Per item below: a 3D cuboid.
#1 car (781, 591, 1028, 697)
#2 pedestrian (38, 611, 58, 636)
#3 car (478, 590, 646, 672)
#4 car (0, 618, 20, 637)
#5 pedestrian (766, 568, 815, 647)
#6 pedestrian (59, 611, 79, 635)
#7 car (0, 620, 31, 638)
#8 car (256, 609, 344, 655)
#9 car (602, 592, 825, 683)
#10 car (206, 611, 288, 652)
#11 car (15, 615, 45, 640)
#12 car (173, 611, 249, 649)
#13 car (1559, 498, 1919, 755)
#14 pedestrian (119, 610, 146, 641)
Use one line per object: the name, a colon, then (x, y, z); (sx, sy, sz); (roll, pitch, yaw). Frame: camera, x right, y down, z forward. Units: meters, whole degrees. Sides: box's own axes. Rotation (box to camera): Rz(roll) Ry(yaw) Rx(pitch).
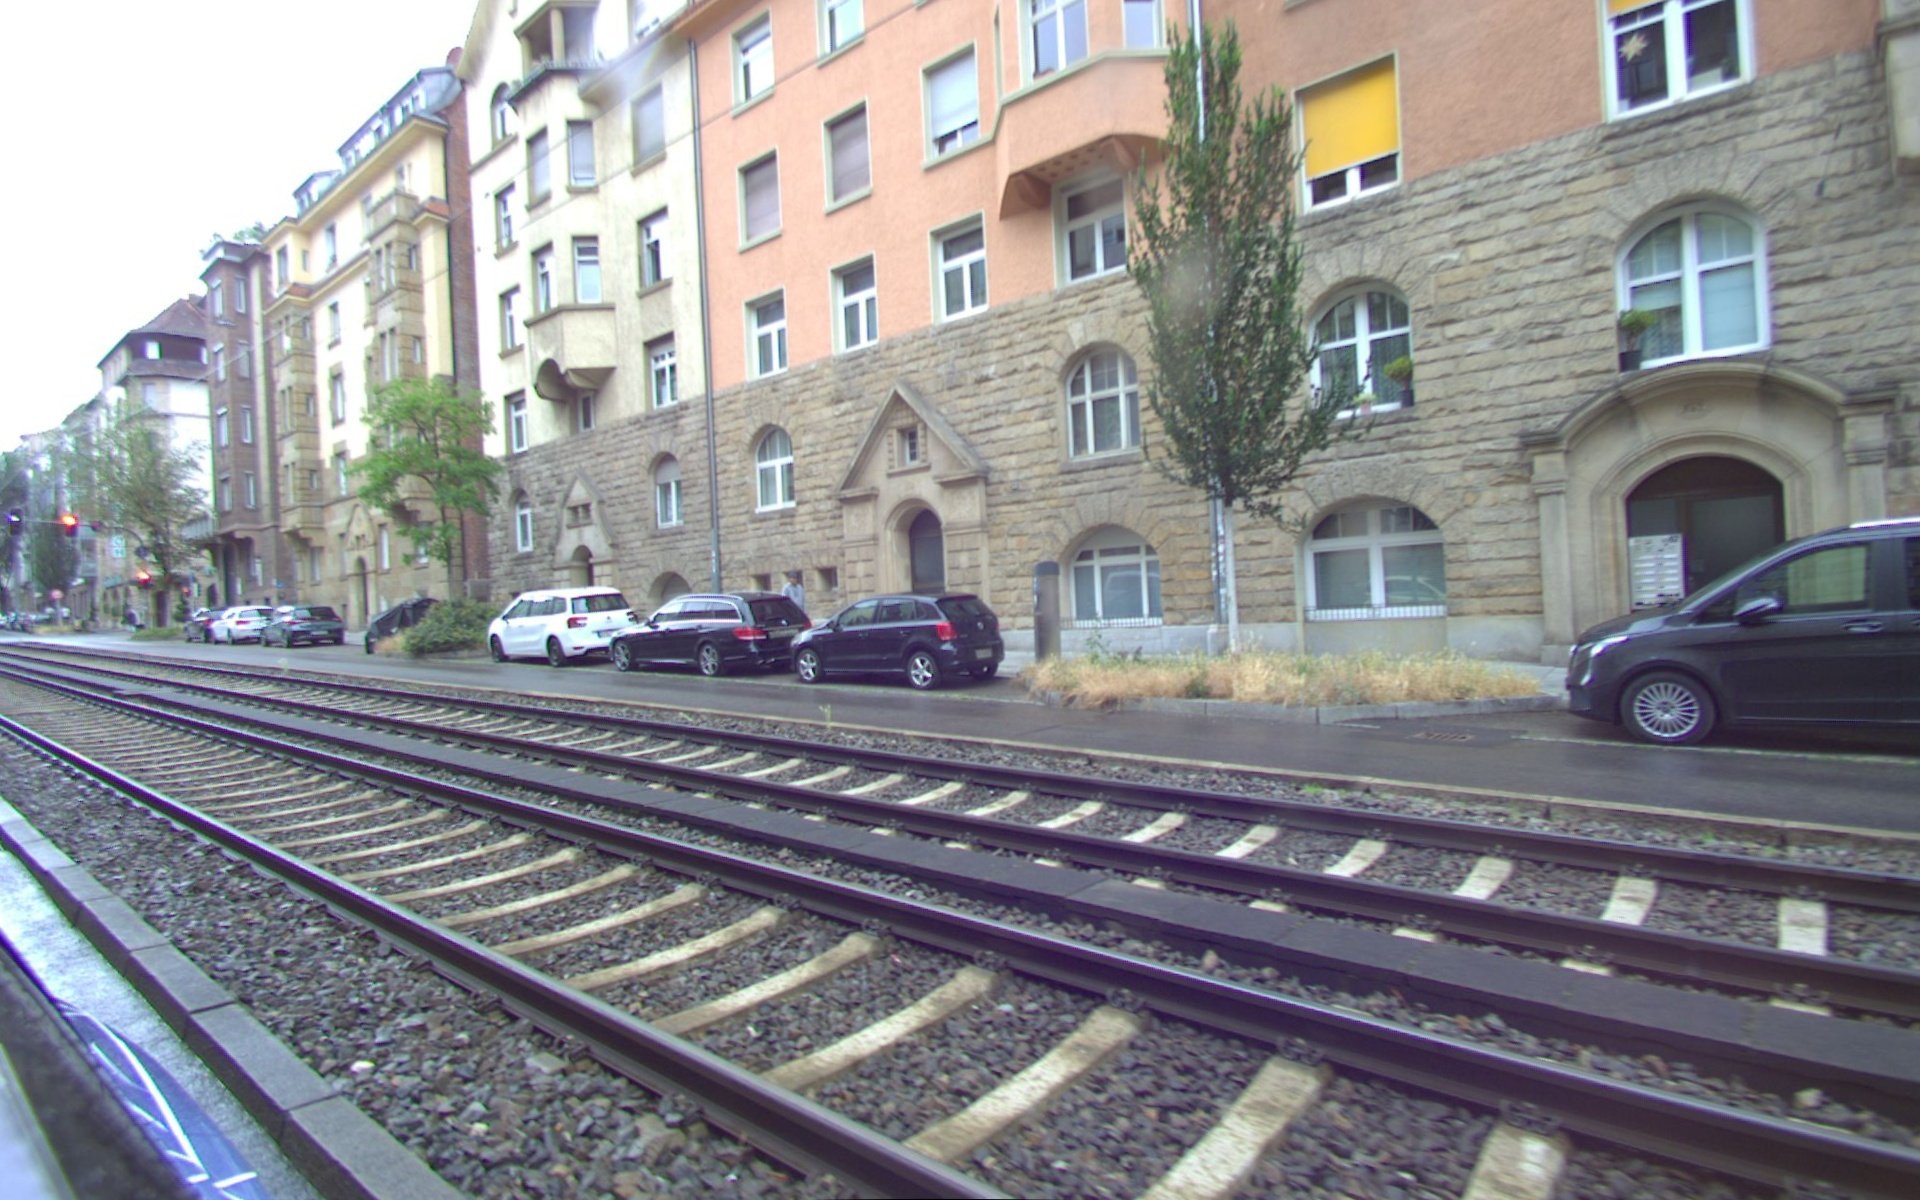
car: (-0.938, 0.647, 16.380); (3.638, 1.508, 1.912); (-1, 0, 38)
pedestrian: (-73.998, 1.896, 82.125); (1.163, 1.972, 1.042); (-1, 0, 43)
car: (-9.126, 0.683, 23.076); (4.144, 1.668, 1.843); (-1, 0, 41)
car: (-80.288, 2.290, 84.887); (3.843, 1.527, 1.748); (-1, 0, 41)
pedestrian: (-3.628, 0.155, 21.702); (0.765, 1.654, 0.692); (-1, 0, 41)
pedestrian: (-73.156, 1.883, 83.111); (1.163, 1.972, 1.042); (-1, 0, 43)
car: (-73.662, 2.281, 78.813); (3.843, 1.321, 1.563); (-1, 0, 41)
car: (-23.062, 1.081, 35.327); (3.845, 1.452, 1.656); (-1, 1, 43)
car: (-4.819, 0.677, 19.402); (4.599, 1.506, 1.824); (-1, 0, 41)
car: (-27.663, 1.197, 39.230); (4.030, 1.452, 1.748); (-1, 1, 42)
car: (-68.414, 1.990, 74.447); (1.561, 1.691, 3.794); (-2, 2, -43)
car: (-31.521, 1.253, 42.553); (3.843, 1.452, 1.748); (-1, 0, 41)
car: (7.963, 0.191, 8.444); (4.823, 1.956, 1.973); (-1, 0, 41)
pedestrian: (-54.510, 1.663, 66.671); (1.159, 1.972, 1.046); (-2, 0, 31)
